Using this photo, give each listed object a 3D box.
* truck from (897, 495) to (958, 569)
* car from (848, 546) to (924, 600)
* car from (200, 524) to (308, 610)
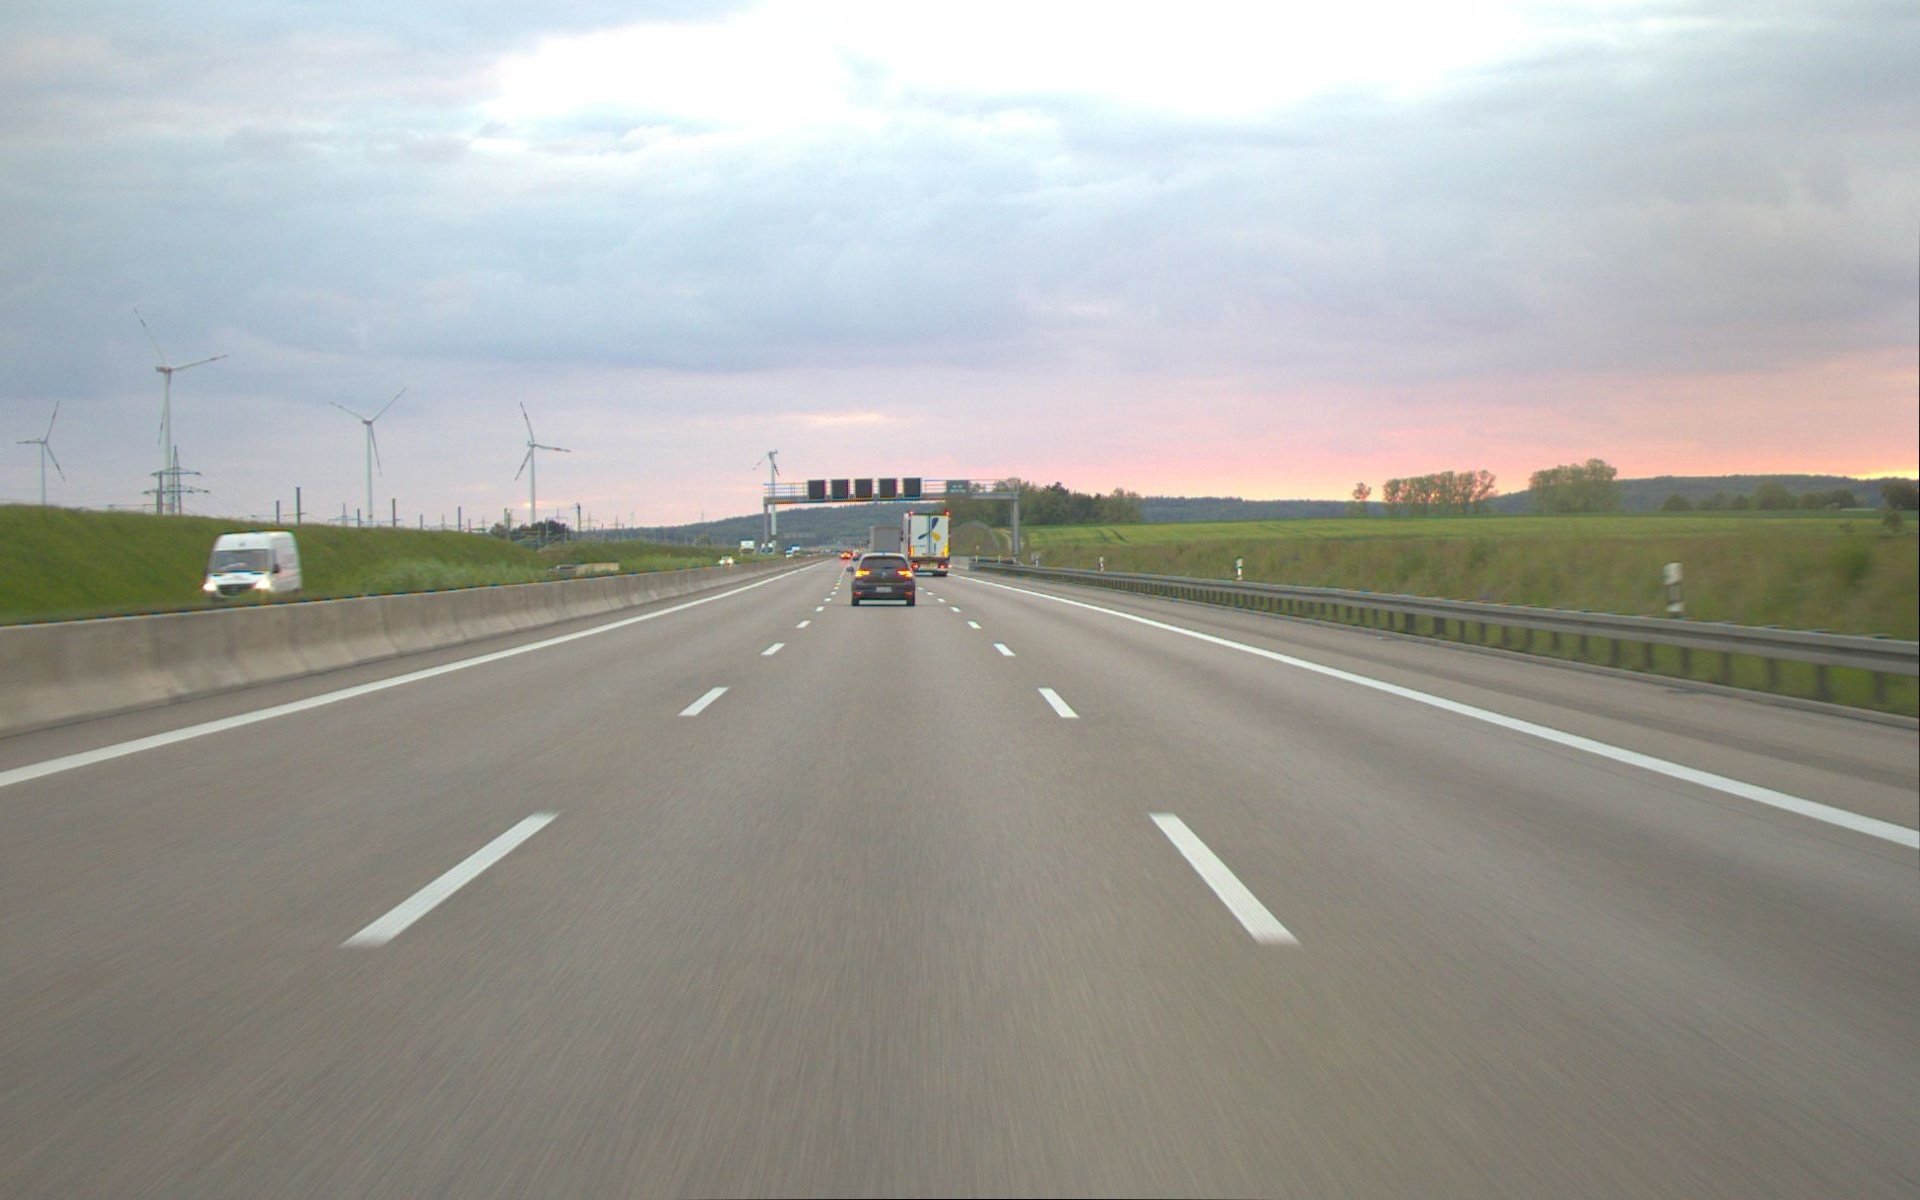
[{"bbox_3d":[-2.112,-4.322,218.774,3.675,4.549,10.982,-1,1,-2],"label":"truck"},{"bbox_3d":[-2.009,-0.756,94.217,1.987,1.425,4.000,-1,1,0],"label":"car"},{"bbox_3d":[-21.898,-1.046,106.899,1.993,2.538,7.378,-1,1,-1],"label":"car"}]
